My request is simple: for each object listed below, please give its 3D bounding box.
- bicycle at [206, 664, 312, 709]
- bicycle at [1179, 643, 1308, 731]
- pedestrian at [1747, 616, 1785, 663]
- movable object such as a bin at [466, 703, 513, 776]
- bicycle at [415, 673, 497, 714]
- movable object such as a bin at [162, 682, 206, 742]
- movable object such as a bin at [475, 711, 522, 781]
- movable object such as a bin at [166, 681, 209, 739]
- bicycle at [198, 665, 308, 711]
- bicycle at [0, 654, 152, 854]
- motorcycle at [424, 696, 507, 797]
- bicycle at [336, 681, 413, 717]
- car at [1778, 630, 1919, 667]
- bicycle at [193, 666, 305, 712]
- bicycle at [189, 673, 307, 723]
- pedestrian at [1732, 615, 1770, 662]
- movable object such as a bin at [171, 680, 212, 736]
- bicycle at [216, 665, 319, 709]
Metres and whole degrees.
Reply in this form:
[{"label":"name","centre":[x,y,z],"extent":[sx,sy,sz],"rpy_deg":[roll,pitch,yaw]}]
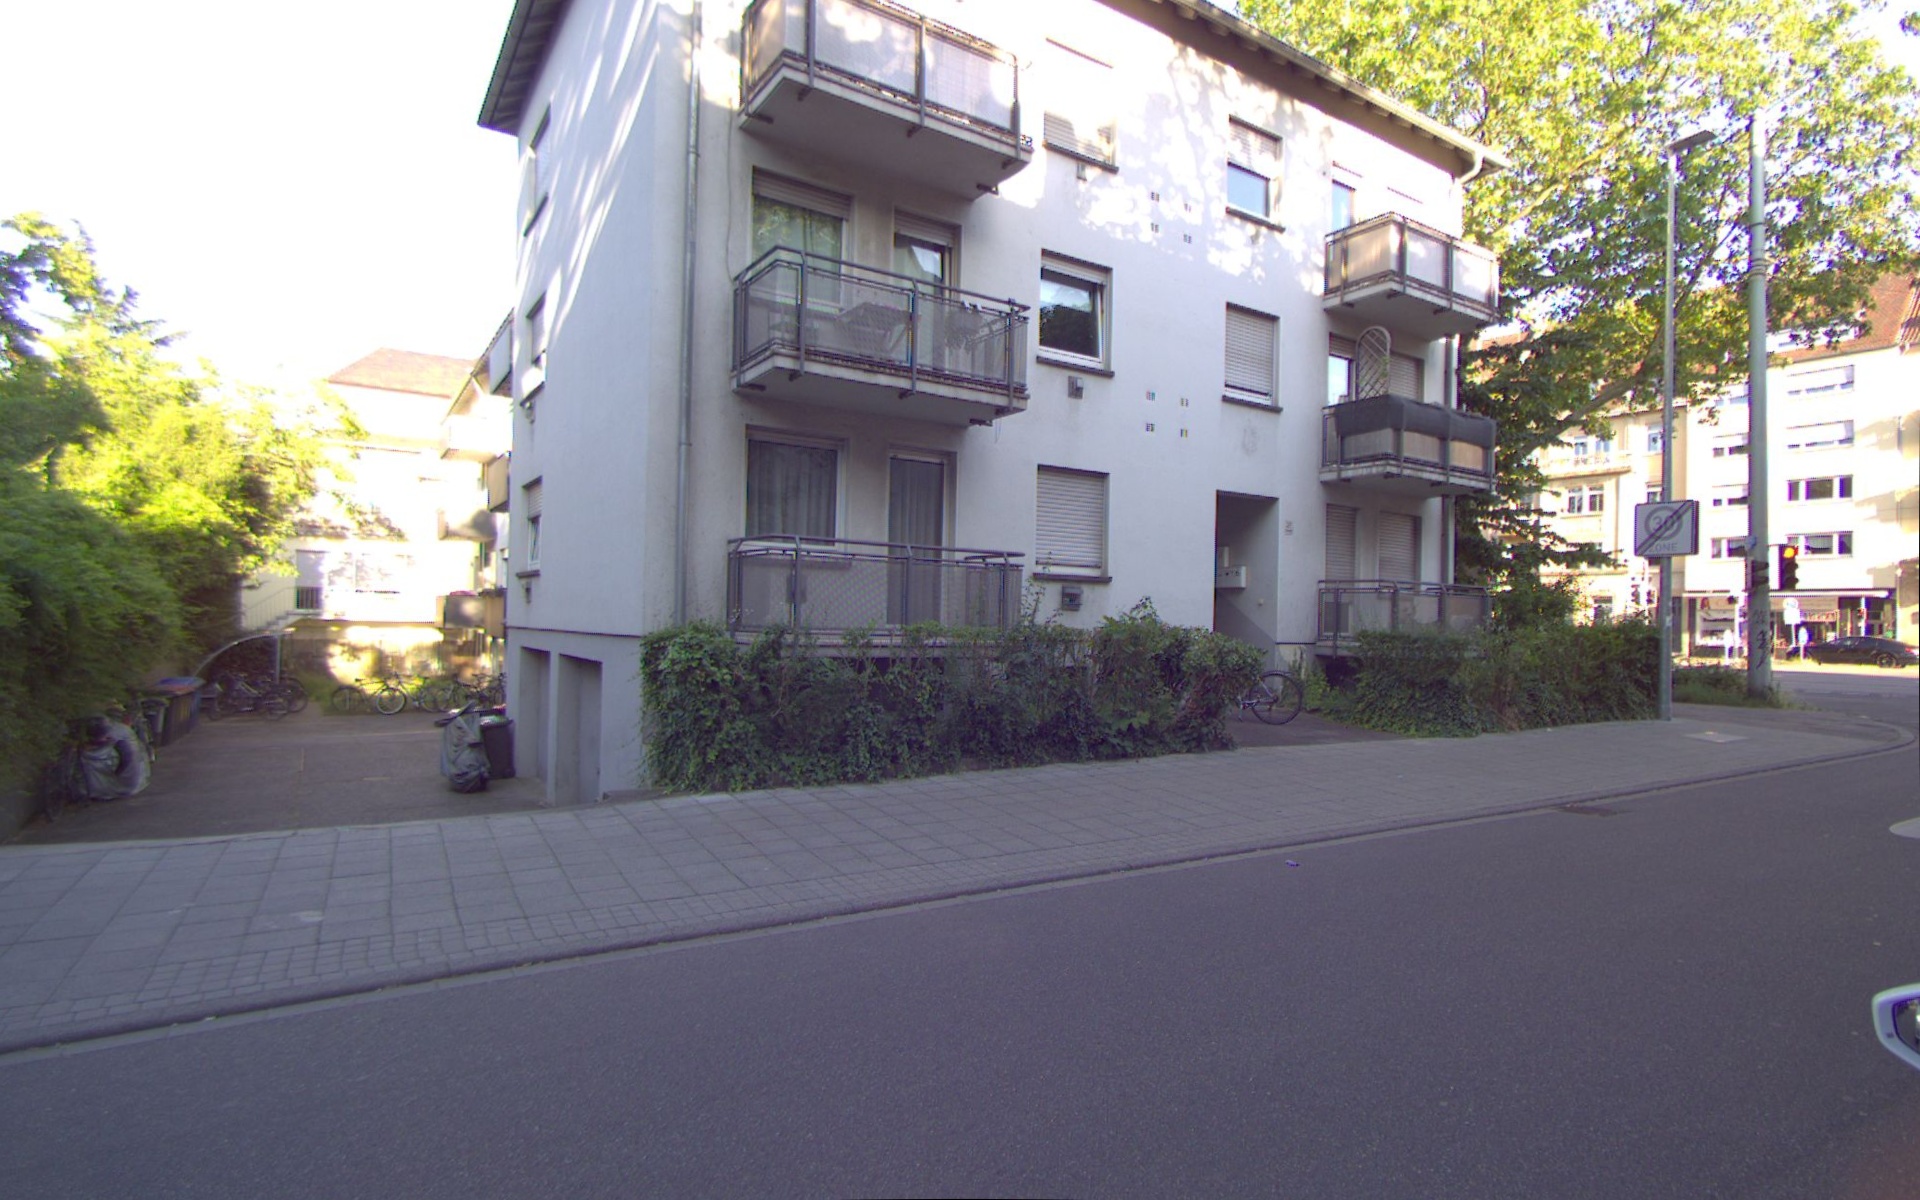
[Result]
[{"label":"bicycle","centre":[-19.370,2.387,27.820],"extent":[2.311,1.192,0.689],"rpy_deg":[2,-4,-30]},{"label":"bicycle","centre":[3.830,1.150,13.572],"extent":[1.590,1.022,0.517],"rpy_deg":[3,1,20]},{"label":"pedestrian","centre":[44.207,2.148,55.109],"extent":[1.049,2.497,1.338],"rpy_deg":[1,0,-34]},{"label":"movable object such as a bin","centre":[-7.915,2.326,16.904],"extent":[0.606,1.129,0.795],"rpy_deg":[1,-3,-33]},{"label":"bicycle","centre":[-13.909,2.570,27.748],"extent":[1.982,1.085,0.561],"rpy_deg":[2,-4,-30]},{"label":"movable object such as a bin","centre":[-15.487,2.222,20.057],"extent":[0.606,1.129,0.795],"rpy_deg":[1,-3,-33]},{"label":"movable object such as a bin","centre":[-7.399,2.325,16.092],"extent":[0.606,1.051,0.534],"rpy_deg":[1,-3,-34]},{"label":"movable object such as a bin","centre":[-15.928,2.254,20.727],"extent":[0.606,1.129,0.795],"rpy_deg":[1,-3,-33]},{"label":"bicycle","centre":[-19.024,2.349,27.095],"extent":[2.311,1.192,0.689],"rpy_deg":[2,-4,-30]},{"label":"bicycle","centre":[-10.600,1.653,11.982],"extent":[0.961,1.917,4.156],"rpy_deg":[1,-2,-32]},{"label":"motorcycle","centre":[-7.403,2.150,15.010],"extent":[0.739,1.313,1.563],"rpy_deg":[2,-2,-41]},{"label":"bicycle","centre":[-15.564,2.622,26.748],"extent":[1.734,0.890,0.561],"rpy_deg":[2,-4,-30]},{"label":"car","centre":[39.775,2.114,44.765],"extent":[1.839,1.471,4.855],"rpy_deg":[1,-1,-33]},{"label":"bicycle","centre":[-18.598,2.322,26.348],"extent":[2.311,1.148,0.689],"rpy_deg":[2,-4,-30]},{"label":"bicycle","centre":[-17.334,2.379,24.529],"extent":[2.268,1.148,0.689],"rpy_deg":[2,-4,-30]},{"label":"pedestrian","centre":[43.087,2.099,54.711],"extent":[1.049,2.497,1.338],"rpy_deg":[1,0,-34]},{"label":"movable object such as a bin","centre":[-16.361,2.284,21.389],"extent":[0.606,1.129,0.795],"rpy_deg":[1,-3,-33]},{"label":"bicycle","centre":[-19.640,2.447,28.544],"extent":[2.311,1.192,0.689],"rpy_deg":[2,-4,-30]}]
